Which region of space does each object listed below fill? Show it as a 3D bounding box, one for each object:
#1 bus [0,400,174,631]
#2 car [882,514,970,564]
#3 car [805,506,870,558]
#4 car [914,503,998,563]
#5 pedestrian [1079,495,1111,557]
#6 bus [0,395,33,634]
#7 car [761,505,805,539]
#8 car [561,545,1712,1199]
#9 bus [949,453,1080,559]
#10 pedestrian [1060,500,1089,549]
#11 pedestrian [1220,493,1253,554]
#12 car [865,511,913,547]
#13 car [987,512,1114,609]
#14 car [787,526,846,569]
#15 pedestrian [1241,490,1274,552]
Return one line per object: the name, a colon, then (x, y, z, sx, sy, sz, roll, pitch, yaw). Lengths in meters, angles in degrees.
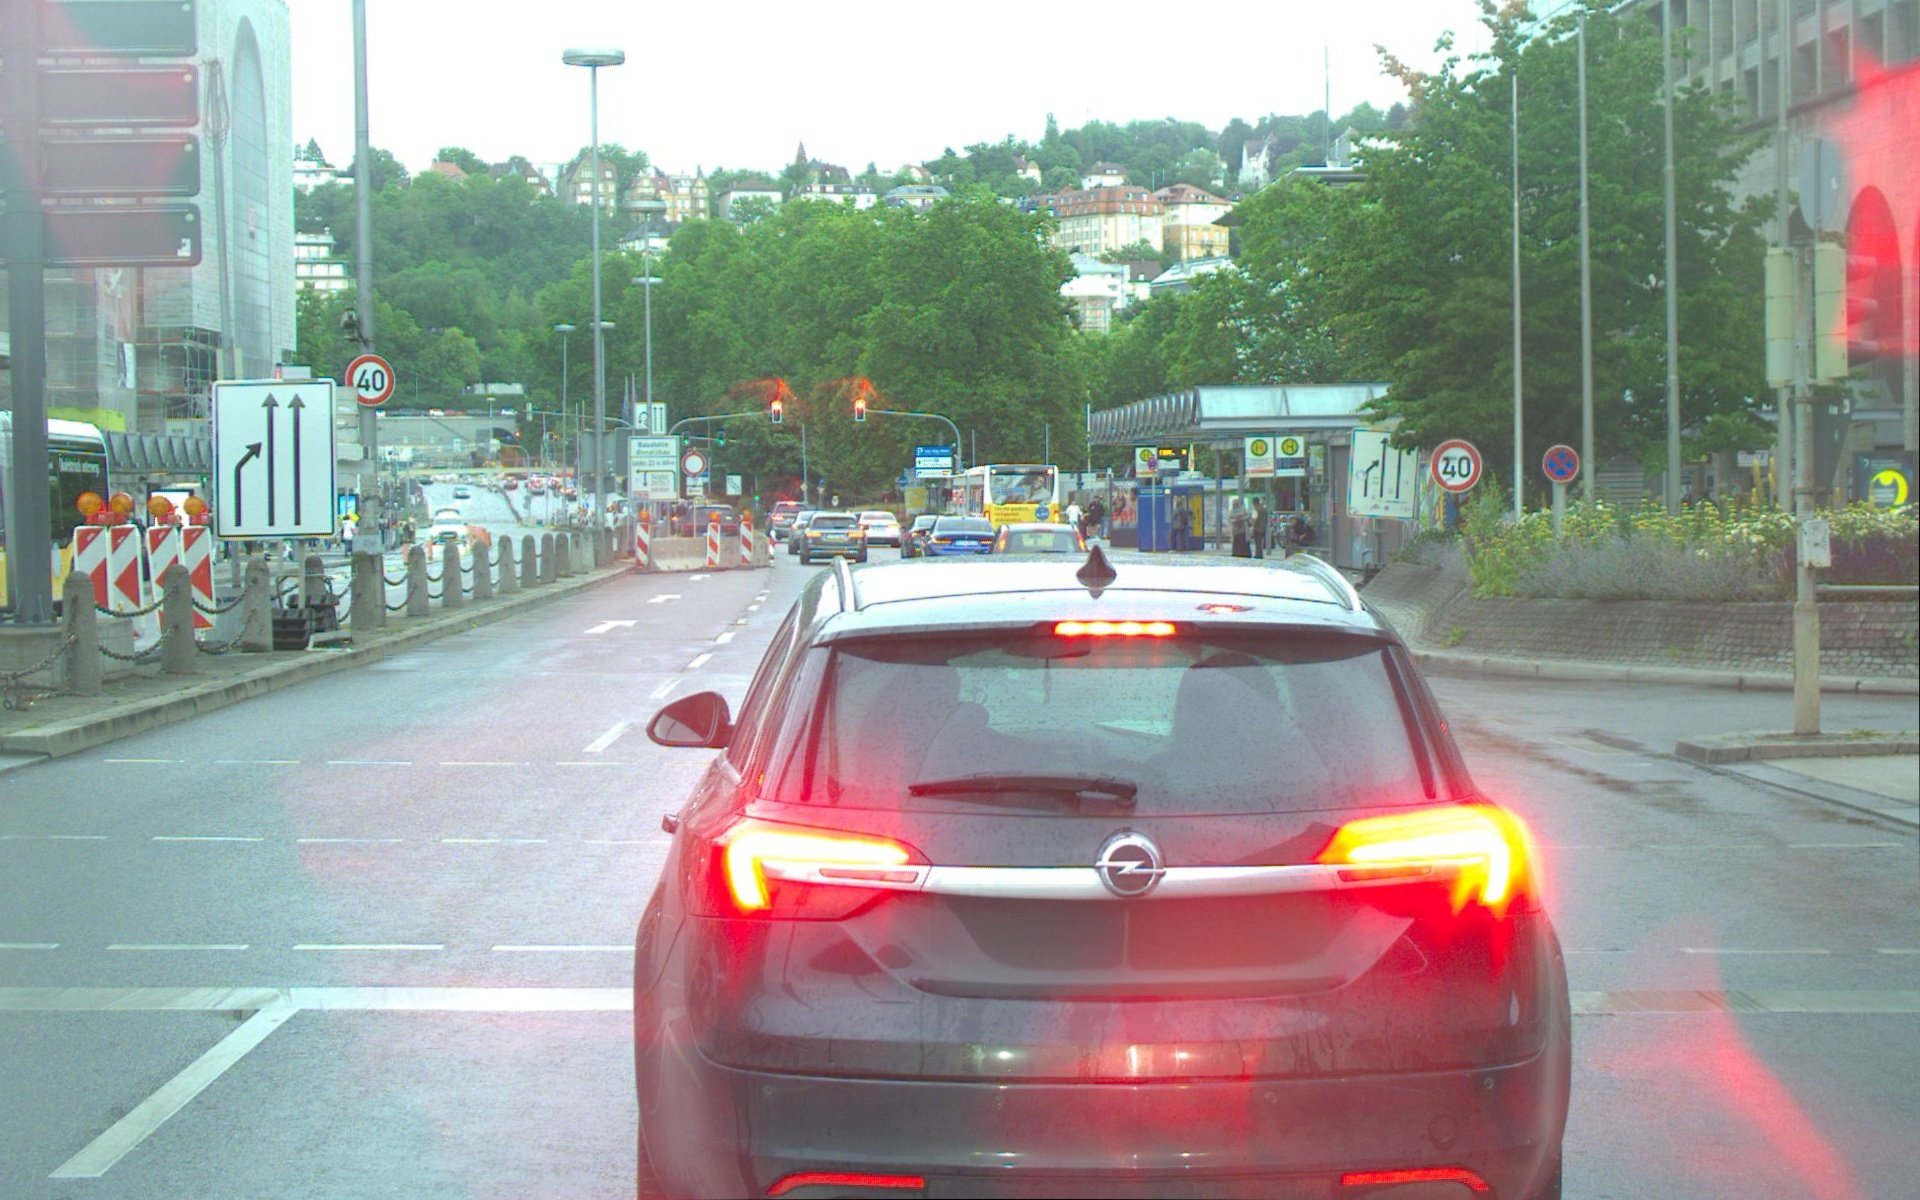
bus: (-15.852, -1.395, 58.534, 2.668, 3.589, 10.212, 1, 1, -1)
car: (-1.018, -1.758, 99.981, 1.752, 1.393, 4.403, 1, 1, -11)
car: (-3.446, -1.902, 96.753, 1.753, 1.393, 4.538, 1, 1, -2)
car: (-0.127, -1.600, 82.671, 1.753, 1.393, 4.649, 1, 1, -3)
pedestrian: (5.369, -2.930, 136.893, 1.199, 2.427, 1.228, 1, 1, 1)
bus: (-15.725, -1.259, 48.349, 2.668, 3.589, 10.240, 1, 1, -1)
car: (-7.695, -3.396, 149.931, 1.759, 1.393, 3.564, 1, 1, -1)
car: (0.250, 0.638, 7.647, 1.874, 1.481, 4.000, 1, 1, -1)
bus: (1.781, -3.203, 120.875, 4.173, 3.457, 14.655, 1, 1, -1)
pedestrian: (5.029, -3.306, 150.654, 1.199, 2.141, 1.228, 1, 1, 1)
pedestrian: (7.656, -2.121, 95.370, 0.763, 1.684, 0.825, 1, 1, -5)
car: (-2.839, -2.837, 137.854, 1.845, 1.393, 3.564, 1, 1, -1)
car: (1.343, -0.606, 52.421, 1.845, 1.393, 3.667, 1, 1, 0)
car: (-4.810, -1.773, 115.549, 1.845, 1.393, 3.564, 1, 1, -1)
pedestrian: (8.140, -2.160, 94.141, 0.763, 1.684, 0.825, 1, 1, -5)
